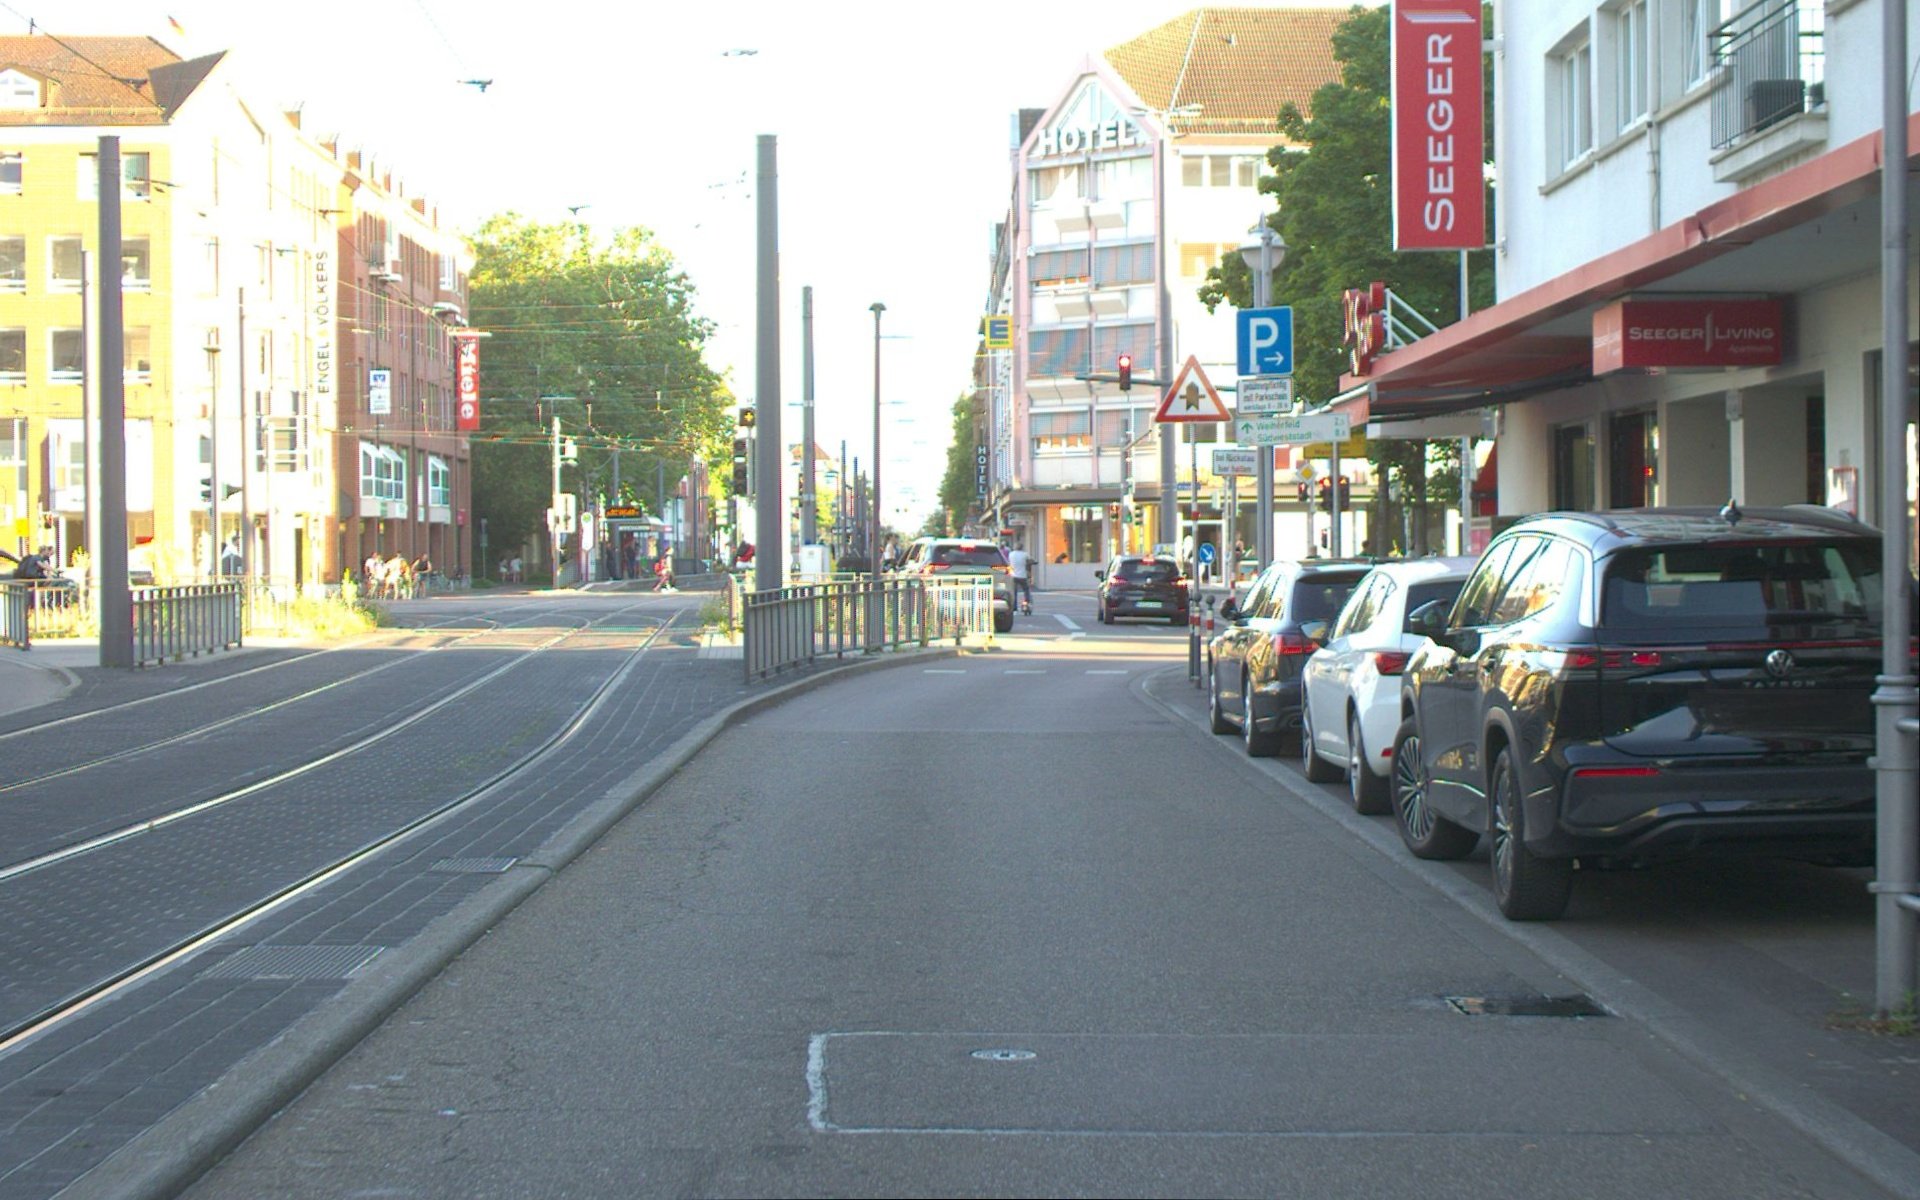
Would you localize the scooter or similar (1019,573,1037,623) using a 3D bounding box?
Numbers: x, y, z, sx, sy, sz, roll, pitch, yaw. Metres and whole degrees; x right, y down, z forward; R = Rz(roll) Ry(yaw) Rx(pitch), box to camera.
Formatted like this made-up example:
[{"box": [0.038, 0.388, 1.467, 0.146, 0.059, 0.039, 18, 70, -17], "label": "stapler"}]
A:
[{"box": [1.495, -0.052, 75.331, 0.279, 1.087, 1.257, 1, 0, 6], "label": "scooter or similar"}]

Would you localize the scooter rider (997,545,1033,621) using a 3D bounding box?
[{"box": [1.203, -0.373, 75.302, 0.662, 1.641, 0.661, 1, 0, 8], "label": "scooter rider"}]

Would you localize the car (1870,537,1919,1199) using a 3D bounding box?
[{"box": [3.111, 0.666, 6.098, 1.781, 1.517, 4.357, 1, 1, 0], "label": "car"}]

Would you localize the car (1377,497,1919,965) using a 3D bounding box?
[{"box": [3.056, 0.476, 14.909, 1.856, 1.695, 4.418, 1, 0, -1], "label": "car"}]

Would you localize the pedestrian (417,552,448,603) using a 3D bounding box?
[{"box": [-21.191, -0.918, 138.078, 1.093, 2.007, 1.163, 1, 0, -3], "label": "pedestrian"}]

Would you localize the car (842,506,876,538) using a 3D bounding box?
[{"box": [-6.368, -4.891, 217.070, 1.993, 1.894, 4.000, 1, 0, 1], "label": "car"}]

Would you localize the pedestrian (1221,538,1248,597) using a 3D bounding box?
[{"box": [8.282, -0.977, 103.767, 0.746, 1.772, 0.800, 1, 0, 2], "label": "pedestrian"}]

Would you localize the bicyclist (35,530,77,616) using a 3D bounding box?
[{"box": [-21.203, -0.635, 80.622, 0.860, 2.007, 0.647, 1, 0, -20], "label": "bicyclist"}]

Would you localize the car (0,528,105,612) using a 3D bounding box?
[{"box": [-23.409, -0.748, 84.571, 4.559, 2.030, 2.001, 0, 1, -12], "label": "car"}]

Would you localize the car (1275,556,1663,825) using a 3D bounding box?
[{"box": [2.942, 0.475, 20.680, 1.651, 1.416, 4.191, 1, 0, 0], "label": "car"}]

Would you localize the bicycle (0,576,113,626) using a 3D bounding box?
[{"box": [-21.234, 0.022, 80.583, 2.639, 1.096, 0.435, 1, 0, -20], "label": "bicycle"}]

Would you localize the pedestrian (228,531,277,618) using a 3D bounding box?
[{"box": [-11.318, -0.414, 55.035, 0.663, 1.370, 0.652, -1, 1, -3], "label": "pedestrian"}]

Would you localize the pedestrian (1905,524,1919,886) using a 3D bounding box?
[{"box": [4.523, 0.457, 14.606, 0.733, 1.568, 0.967, 0, 1, -1], "label": "pedestrian"}]

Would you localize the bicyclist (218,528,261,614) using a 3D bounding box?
[{"box": [-17.014, -0.690, 81.153, 0.860, 2.007, 0.647, 1, 0, -21], "label": "bicyclist"}]

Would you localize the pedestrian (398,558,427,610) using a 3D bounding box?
[{"box": [-21.262, -0.618, 133.517, 0.976, 2.007, 0.909, 1, 0, -3], "label": "pedestrian"}]

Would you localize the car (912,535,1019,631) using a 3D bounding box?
[{"box": [0.115, -0.275, 62.416, 1.835, 1.631, 4.090, -1, -1, 1], "label": "car"}]

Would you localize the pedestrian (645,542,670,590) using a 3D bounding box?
[{"box": [-11.399, -1.281, 129.640, 0.805, 1.816, 0.703, 1, 0, 2], "label": "pedestrian"}]

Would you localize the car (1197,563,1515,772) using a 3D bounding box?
[{"box": [2.914, 0.456, 26.230, 1.790, 1.408, 4.688, 1, 0, -1], "label": "car"}]

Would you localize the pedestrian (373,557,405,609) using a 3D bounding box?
[{"box": [-22.393, -0.652, 134.736, 1.093, 2.007, 0.909, 1, 0, -3], "label": "pedestrian"}]

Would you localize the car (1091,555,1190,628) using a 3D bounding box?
[{"box": [3.667, -0.198, 70.409, 1.764, 1.435, 4.000, 0, 1, 0], "label": "car"}]

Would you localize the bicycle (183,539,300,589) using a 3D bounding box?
[{"box": [-16.949, -0.845, 81.135, 2.639, 1.096, 0.435, 1, 0, -20], "label": "bicycle"}]

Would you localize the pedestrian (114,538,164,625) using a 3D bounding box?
[{"box": [-13.133, -0.297, 54.996, 0.663, 1.370, 0.652, 0, 1, -3], "label": "pedestrian"}]

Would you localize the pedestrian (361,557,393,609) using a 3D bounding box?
[{"box": [-22.656, -0.659, 133.563, 1.093, 2.007, 0.909, 1, 0, -3], "label": "pedestrian"}]

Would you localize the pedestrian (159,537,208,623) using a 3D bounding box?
[{"box": [-12.427, -0.325, 55.031, 0.663, 1.370, 0.652, 0, 1, -3], "label": "pedestrian"}]

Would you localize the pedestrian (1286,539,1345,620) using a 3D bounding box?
[{"box": [7.547, -0.435, 73.077, 0.823, 1.679, 1.049, 1, 0, -21], "label": "pedestrian"}]
